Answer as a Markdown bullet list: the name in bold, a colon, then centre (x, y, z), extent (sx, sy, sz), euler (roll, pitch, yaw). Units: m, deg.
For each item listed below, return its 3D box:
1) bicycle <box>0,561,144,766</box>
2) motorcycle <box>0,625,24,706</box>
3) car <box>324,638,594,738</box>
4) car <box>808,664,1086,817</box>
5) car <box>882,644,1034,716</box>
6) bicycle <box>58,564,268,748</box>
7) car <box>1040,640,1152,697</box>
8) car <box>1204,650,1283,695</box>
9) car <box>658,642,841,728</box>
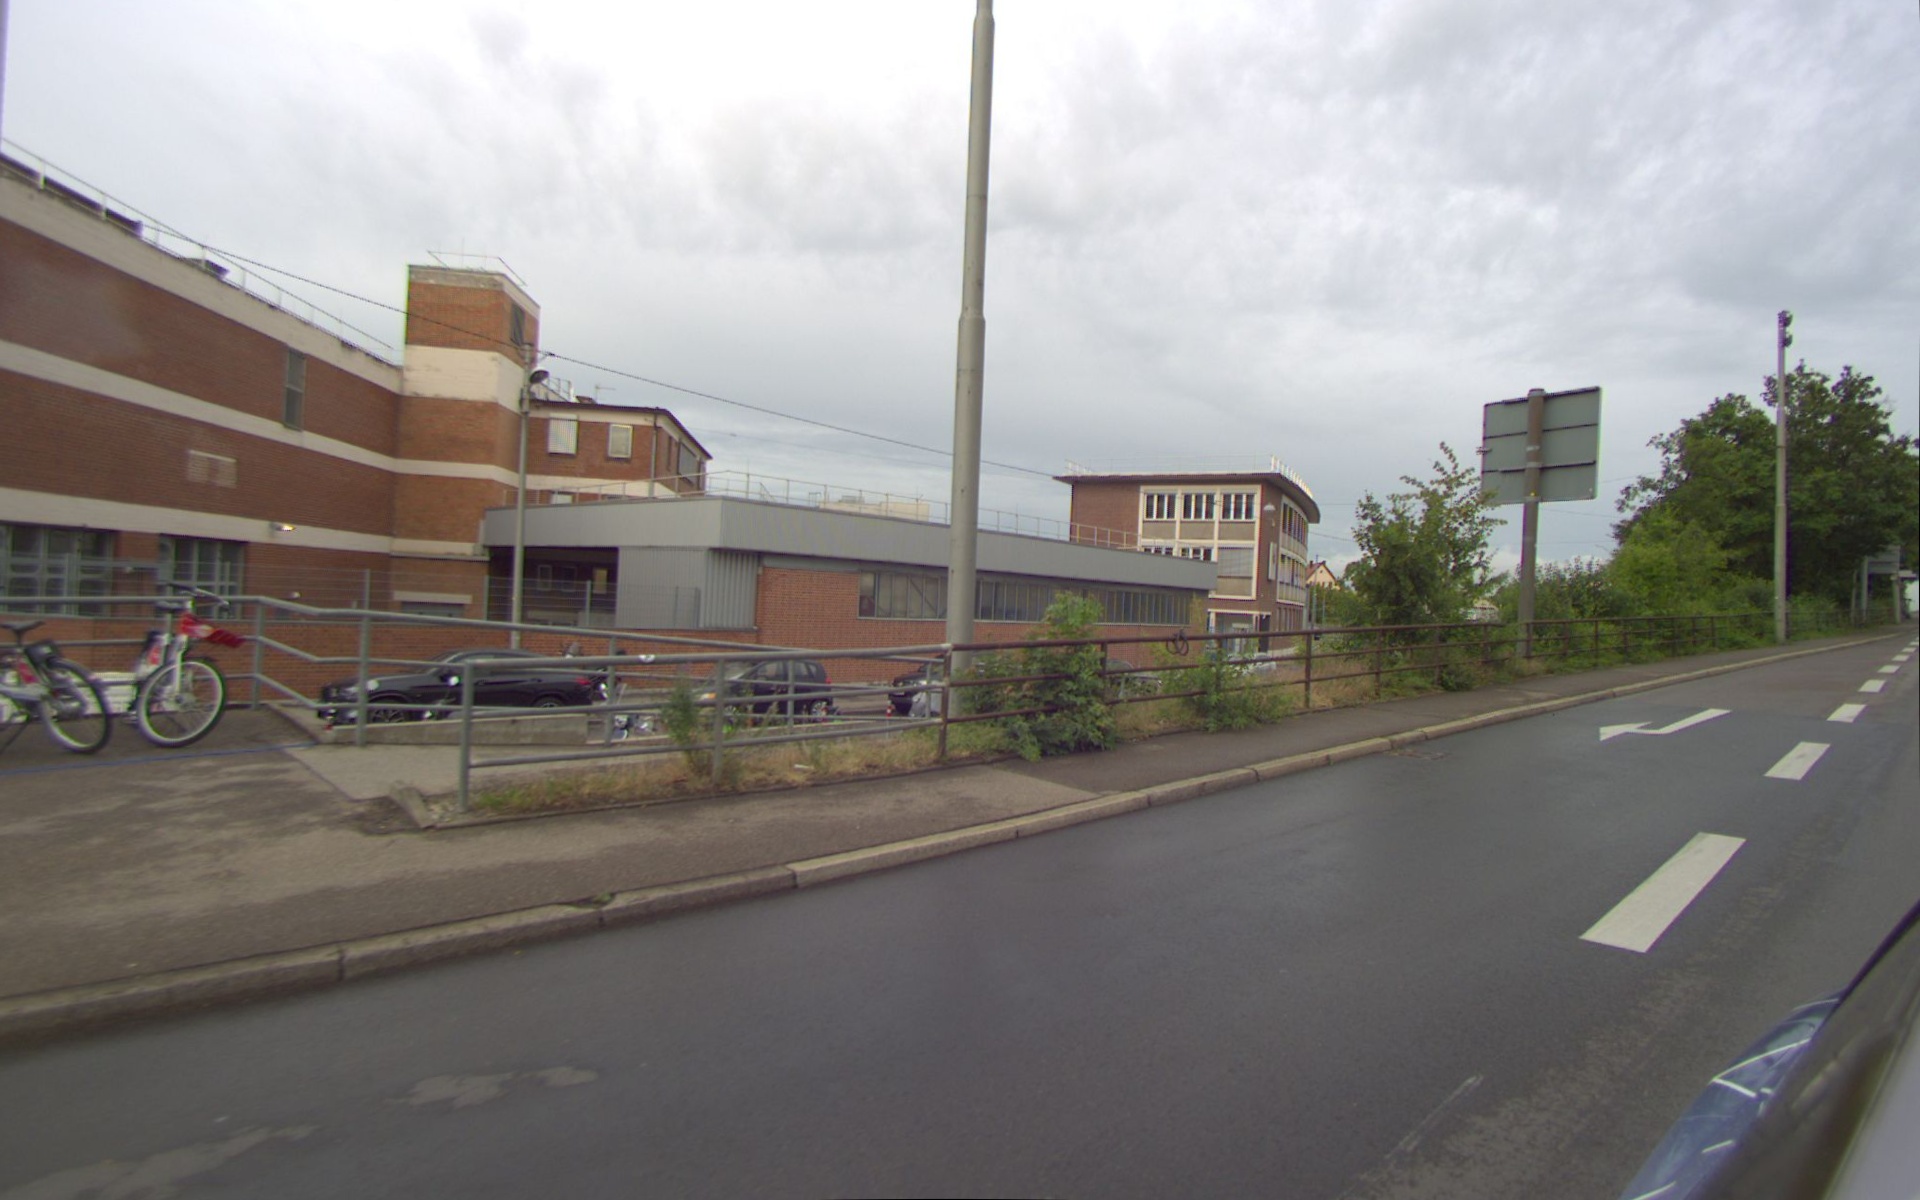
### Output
- **bicycle**: centre (-6.465, 0.367, 6.774), extent (1.906, 1.239, 0.596), euler (2, 1, 17)
- **motorcycle**: centre (-17.377, 1.092, 17.170), extent (1.943, 1.325, 0.932), euler (3, 2, -15)
- **car**: centre (-9.321, 1.596, 19.060), extent (4.192, 1.630, 1.699), euler (4, -3, -44)
- **car**: centre (-0.082, 1.823, 14.188), extent (3.794, 1.574, 1.699), euler (1, 1, -45)
- **car**: centre (0.021, 2.139, 28.156), extent (4.357, 1.652, 1.634), euler (0, 1, -45)
- **bicycle**: centre (-5.948, 0.354, 7.520), extent (1.917, 1.192, 0.593), euler (2, 2, 31)
- **car**: centre (4.483, 2.182, 33.063), extent (3.794, 1.574, 1.699), euler (1, 1, -45)
- **car**: centre (12.100, 3.040, 43.068), extent (1.698, 1.574, 3.797), euler (1, 1, 43)
- **car**: centre (-4.824, 1.899, 23.561), extent (3.866, 1.648, 1.699), euler (1, 1, -45)
